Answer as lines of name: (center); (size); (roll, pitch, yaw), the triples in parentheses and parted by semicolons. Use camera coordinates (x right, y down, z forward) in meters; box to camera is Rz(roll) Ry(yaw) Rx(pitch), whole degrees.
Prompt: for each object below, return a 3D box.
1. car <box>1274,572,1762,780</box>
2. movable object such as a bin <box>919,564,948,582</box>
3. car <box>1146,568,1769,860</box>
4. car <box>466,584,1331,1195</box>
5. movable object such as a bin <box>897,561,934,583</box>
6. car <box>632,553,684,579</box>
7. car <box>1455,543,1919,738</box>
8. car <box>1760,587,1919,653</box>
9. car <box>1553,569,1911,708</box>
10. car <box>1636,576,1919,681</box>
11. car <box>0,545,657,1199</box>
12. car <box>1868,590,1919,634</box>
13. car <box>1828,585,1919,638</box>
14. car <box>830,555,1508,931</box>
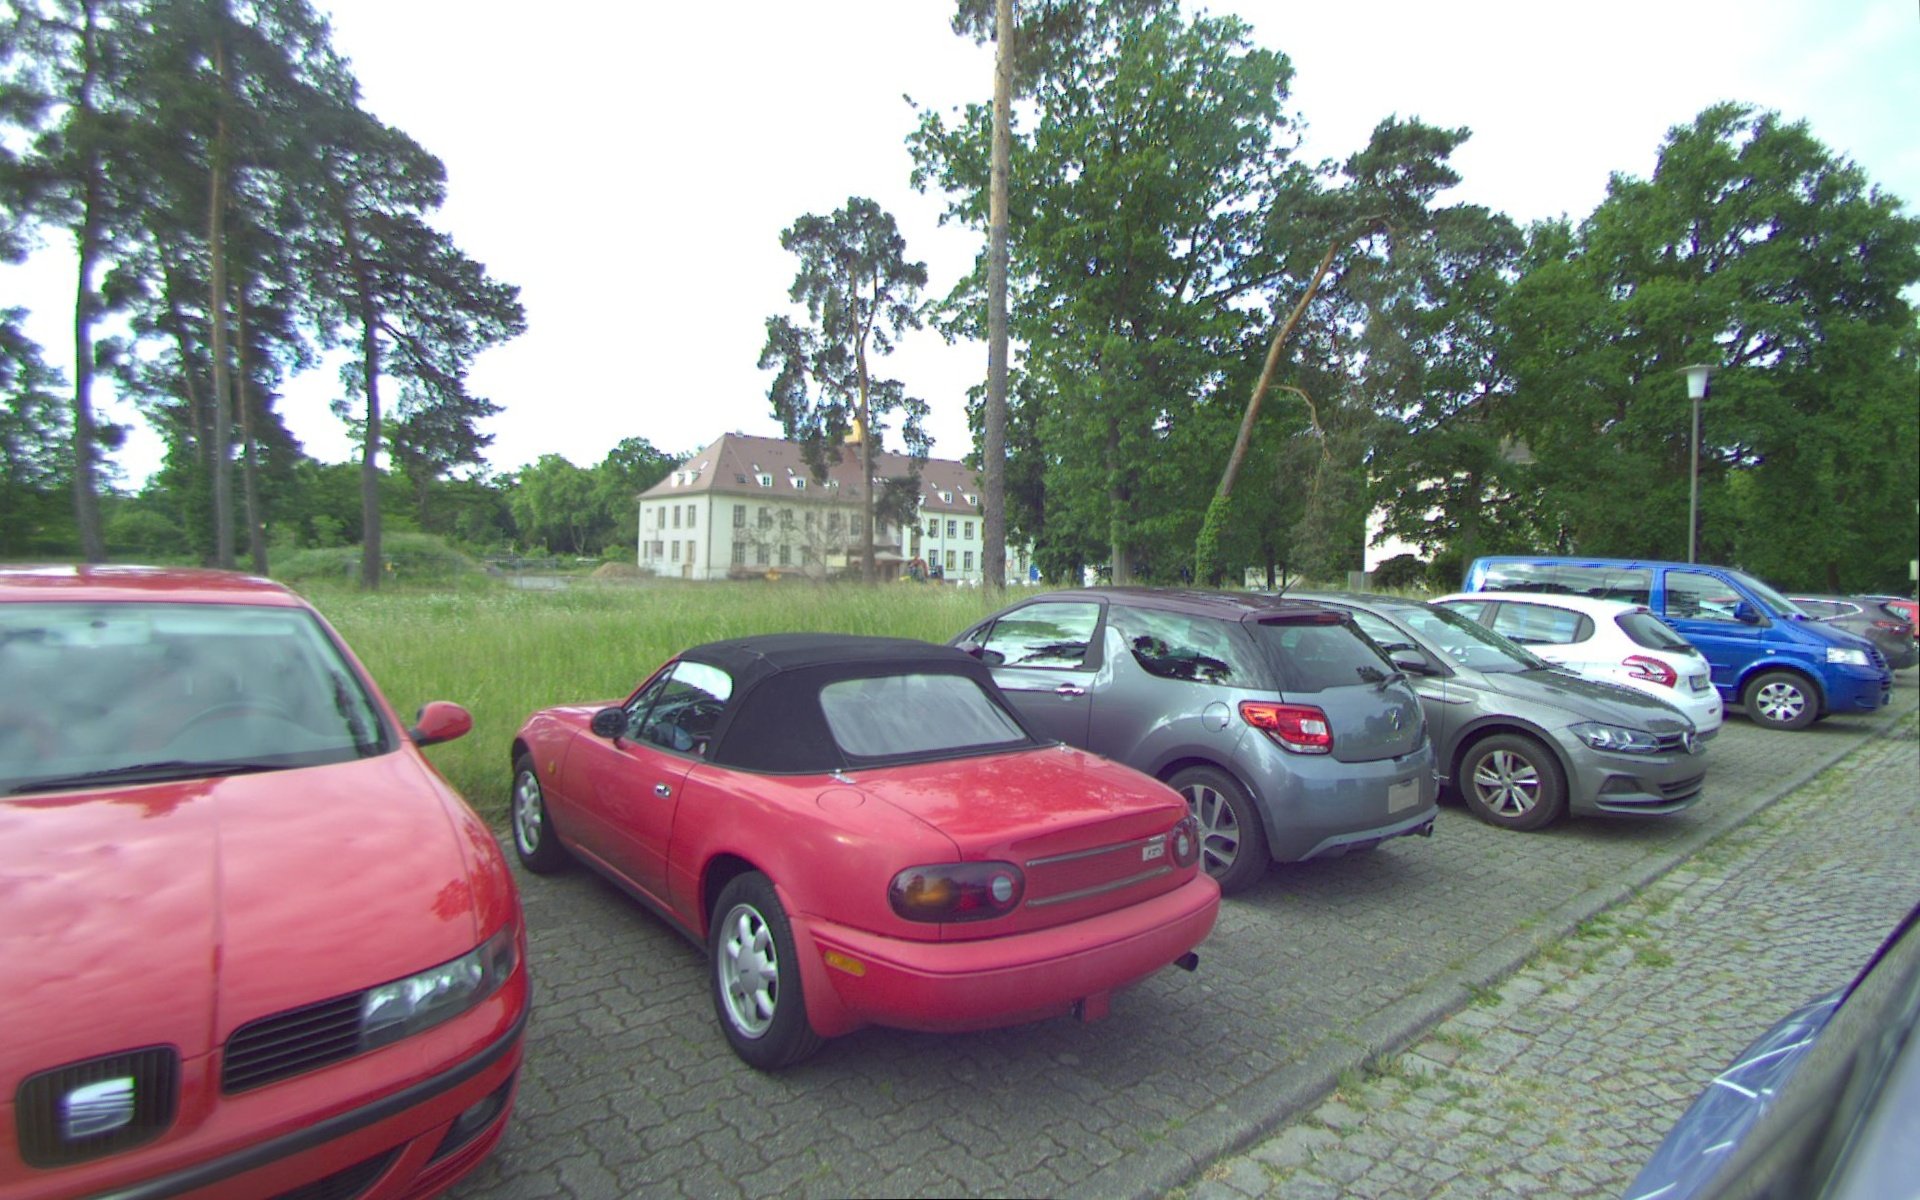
car: (5.348, 0.563, 10.120); (1.727, 1.490, 3.872); (0, 4, -40)
movable object such as a bin: (-3.056, -3.133, 116.898); (2.933, 2.038, 1.553); (0, 2, -41)
car: (3.526, 0.596, 7.745); (1.727, 1.490, 3.871); (0, 4, -41)
car: (-0.644, 0.666, 4.424); (1.728, 1.251, 3.870); (0, 4, -42)
movable object such as a bin: (-4.315, -2.691, 98.292); (3.181, 2.038, 1.682); (0, 2, -34)
car: (-29.777, -3.358, 99.670); (5.848, 2.268, 2.282); (4, 3, 42)
car: (9.454, 0.335, 13.331); (1.969, 1.969, 4.817); (0, 4, -42)
car: (23.263, 0.493, 26.089); (1.555, 1.477, 3.892); (0, 3, -42)
car: (11.316, 0.448, 15.040); (1.810, 1.489, 3.871); (0, 6, -42)
car: (15.720, 0.443, 19.374); (1.791, 1.618, 4.268); (0, 3, -42)
car: (-2.732, 0.614, 3.111); (1.838, 1.433, 4.271); (0, 4, -41)
car: (34.525, 0.482, 35.447); (1.555, 1.443, 3.875); (0, 3, -42)
car: (30.880, 0.406, 32.666); (1.555, 1.556, 4.147); (0, 3, -42)
car: (1.017, 0.553, 6.365); (1.728, 1.490, 3.870); (0, 4, -42)
